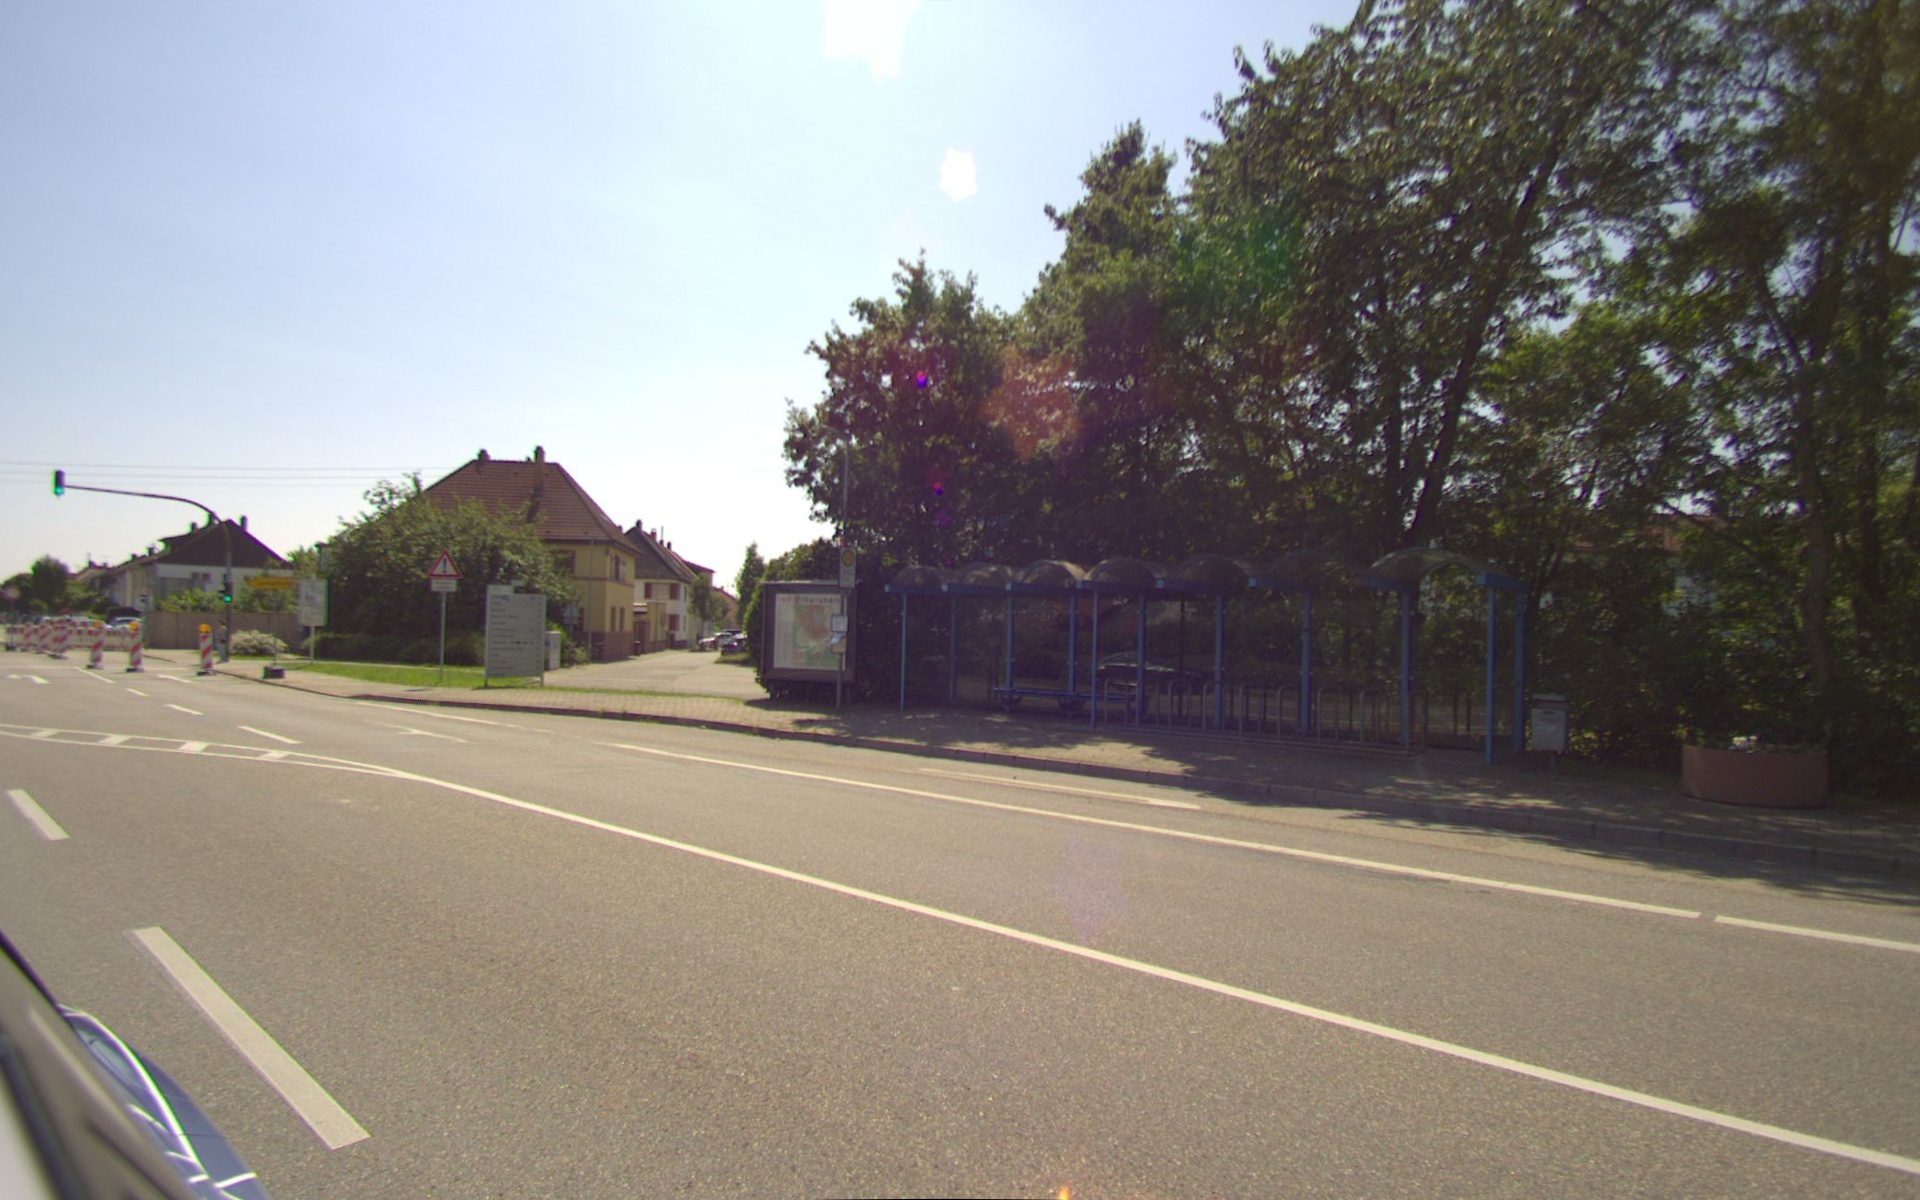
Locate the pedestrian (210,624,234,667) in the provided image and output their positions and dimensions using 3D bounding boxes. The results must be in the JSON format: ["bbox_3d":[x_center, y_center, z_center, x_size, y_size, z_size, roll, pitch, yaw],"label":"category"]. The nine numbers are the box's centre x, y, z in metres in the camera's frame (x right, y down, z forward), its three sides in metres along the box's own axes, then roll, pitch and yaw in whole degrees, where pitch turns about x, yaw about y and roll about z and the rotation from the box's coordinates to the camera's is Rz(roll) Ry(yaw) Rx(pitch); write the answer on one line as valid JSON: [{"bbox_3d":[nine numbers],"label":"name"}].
[{"bbox_3d":[-28.199,1.724,38.683,0.688,1.620,0.607,-1,0,45],"label":"pedestrian"}]

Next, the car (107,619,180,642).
[{"bbox_3d":[-61.380,2.294,76.165,1.766,1.628,3.949,-1,-3,38],"label":"car"}]

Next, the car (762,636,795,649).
[{"bbox_3d":[-20.698,4.839,115.342,3.505,1.424,1.386,2,-3,-17],"label":"car"}]

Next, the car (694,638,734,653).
[{"bbox_3d":[-23.568,4.393,97.132,1.382,1.424,3.514,-1,-3,44],"label":"car"}]

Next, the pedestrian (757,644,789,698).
[{"bbox_3d":[-6.306,2.374,34.041,0.944,1.753,0.818,1,-2,-15],"label":"pedestrian"}]

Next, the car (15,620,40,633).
[{"bbox_3d":[-105.590,3.024,114.636,3.916,1.428,1.716,-1,-3,42],"label":"car"}]

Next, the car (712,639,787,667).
[{"bbox_3d":[-12.244,3.064,59.006,3.938,1.472,1.806,1,-2,-42],"label":"car"}]

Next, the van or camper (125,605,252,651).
[{"bbox_3d":[-50.723,1.866,66.674,2.285,2.866,6.187,-1,-3,35],"label":"van or camper"}]

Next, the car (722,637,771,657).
[{"bbox_3d":[-15.094,3.310,71.429,3.282,1.342,1.426,1,-2,-16],"label":"car"}]

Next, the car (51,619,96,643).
[{"bbox_3d":[-62.190,2.151,70.950,4.228,1.603,1.838,-1,-4,43],"label":"car"}]
